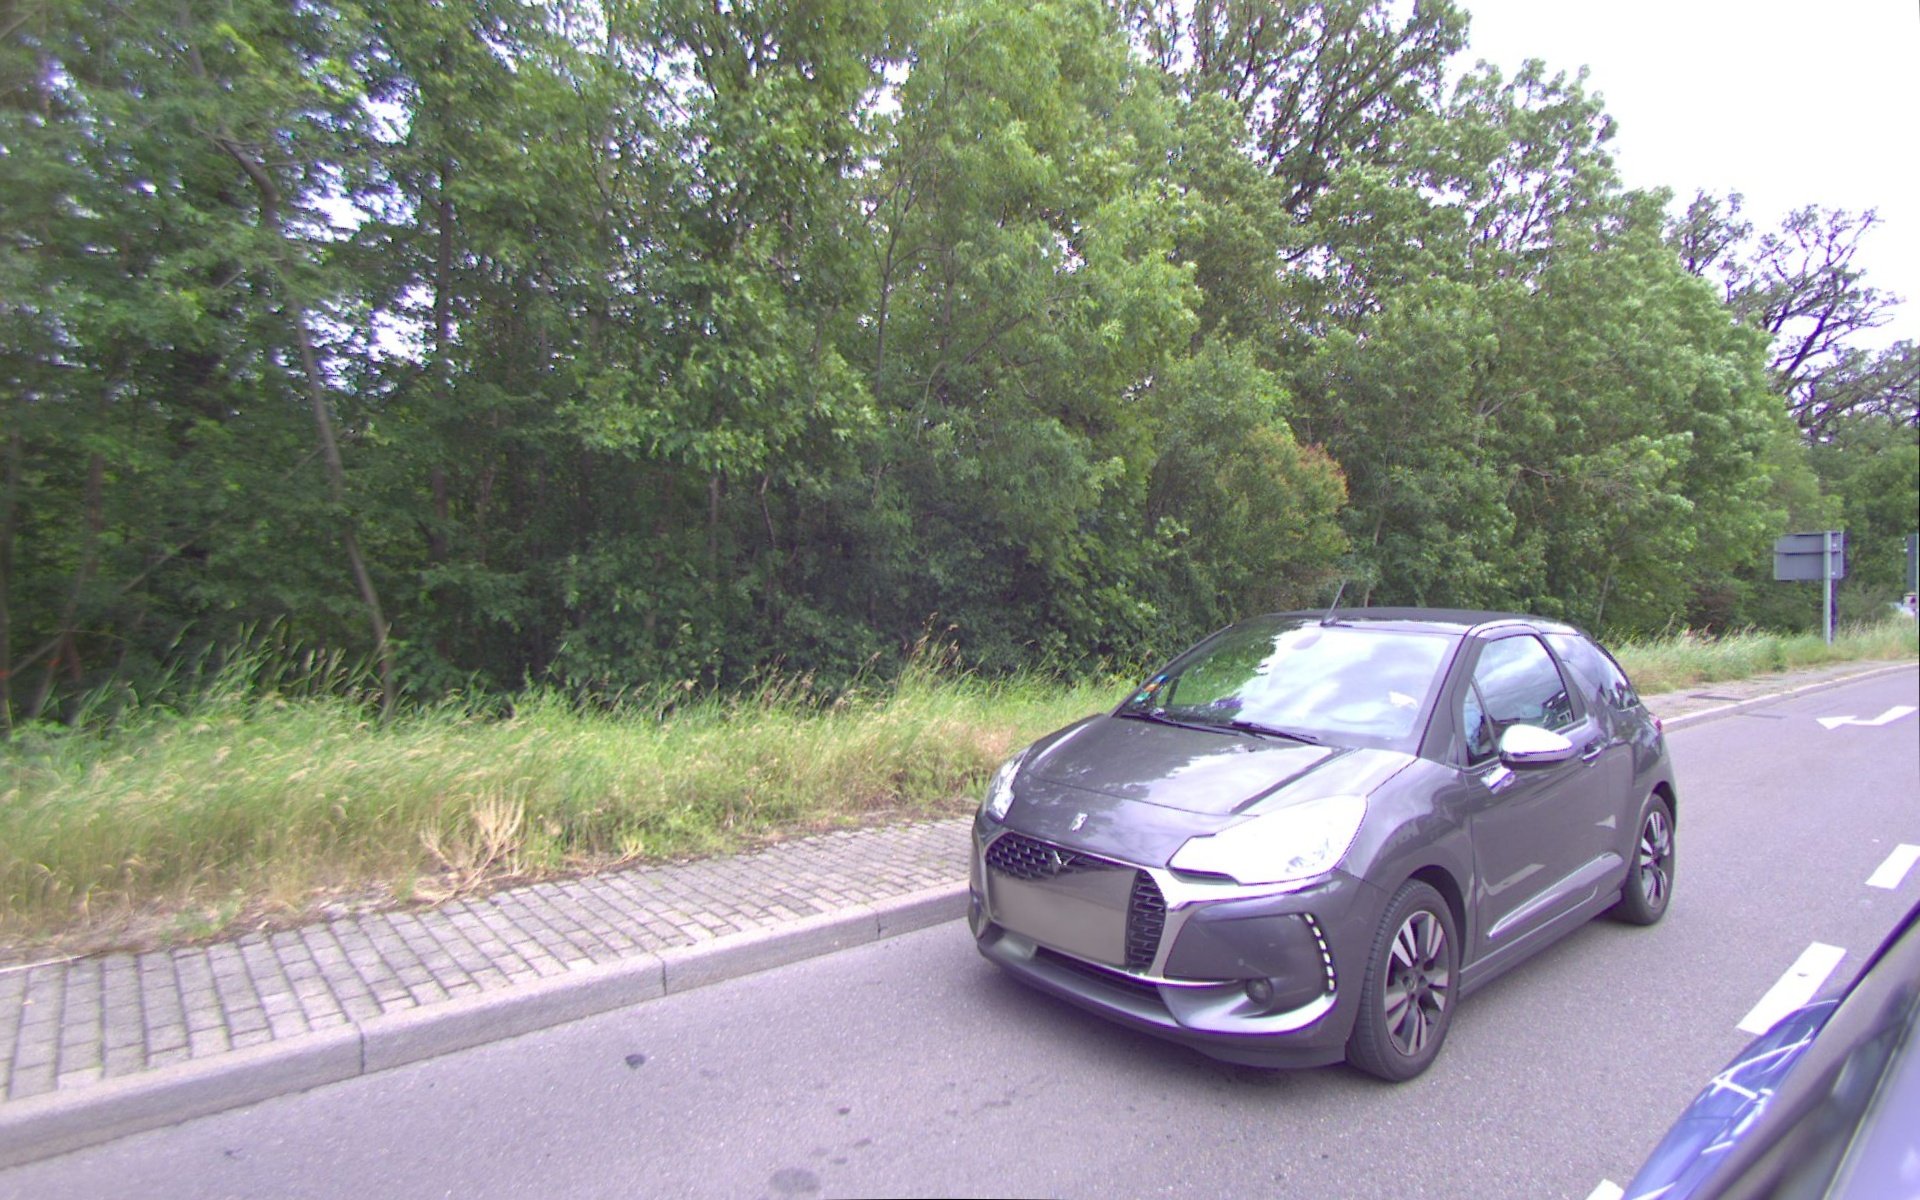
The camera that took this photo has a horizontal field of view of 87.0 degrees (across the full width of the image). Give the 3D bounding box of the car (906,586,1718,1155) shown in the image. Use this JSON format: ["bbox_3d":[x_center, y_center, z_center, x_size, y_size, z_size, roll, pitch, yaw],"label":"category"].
[{"bbox_3d":[1.789,0.695,4.514,3.786,1.476,1.729,0,0,-40],"label":"car"}]

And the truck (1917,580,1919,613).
[{"bbox_3d":[110.569,-0.358,114.378,2.995,3.685,6.985,1,1,40],"label":"truck"}]
